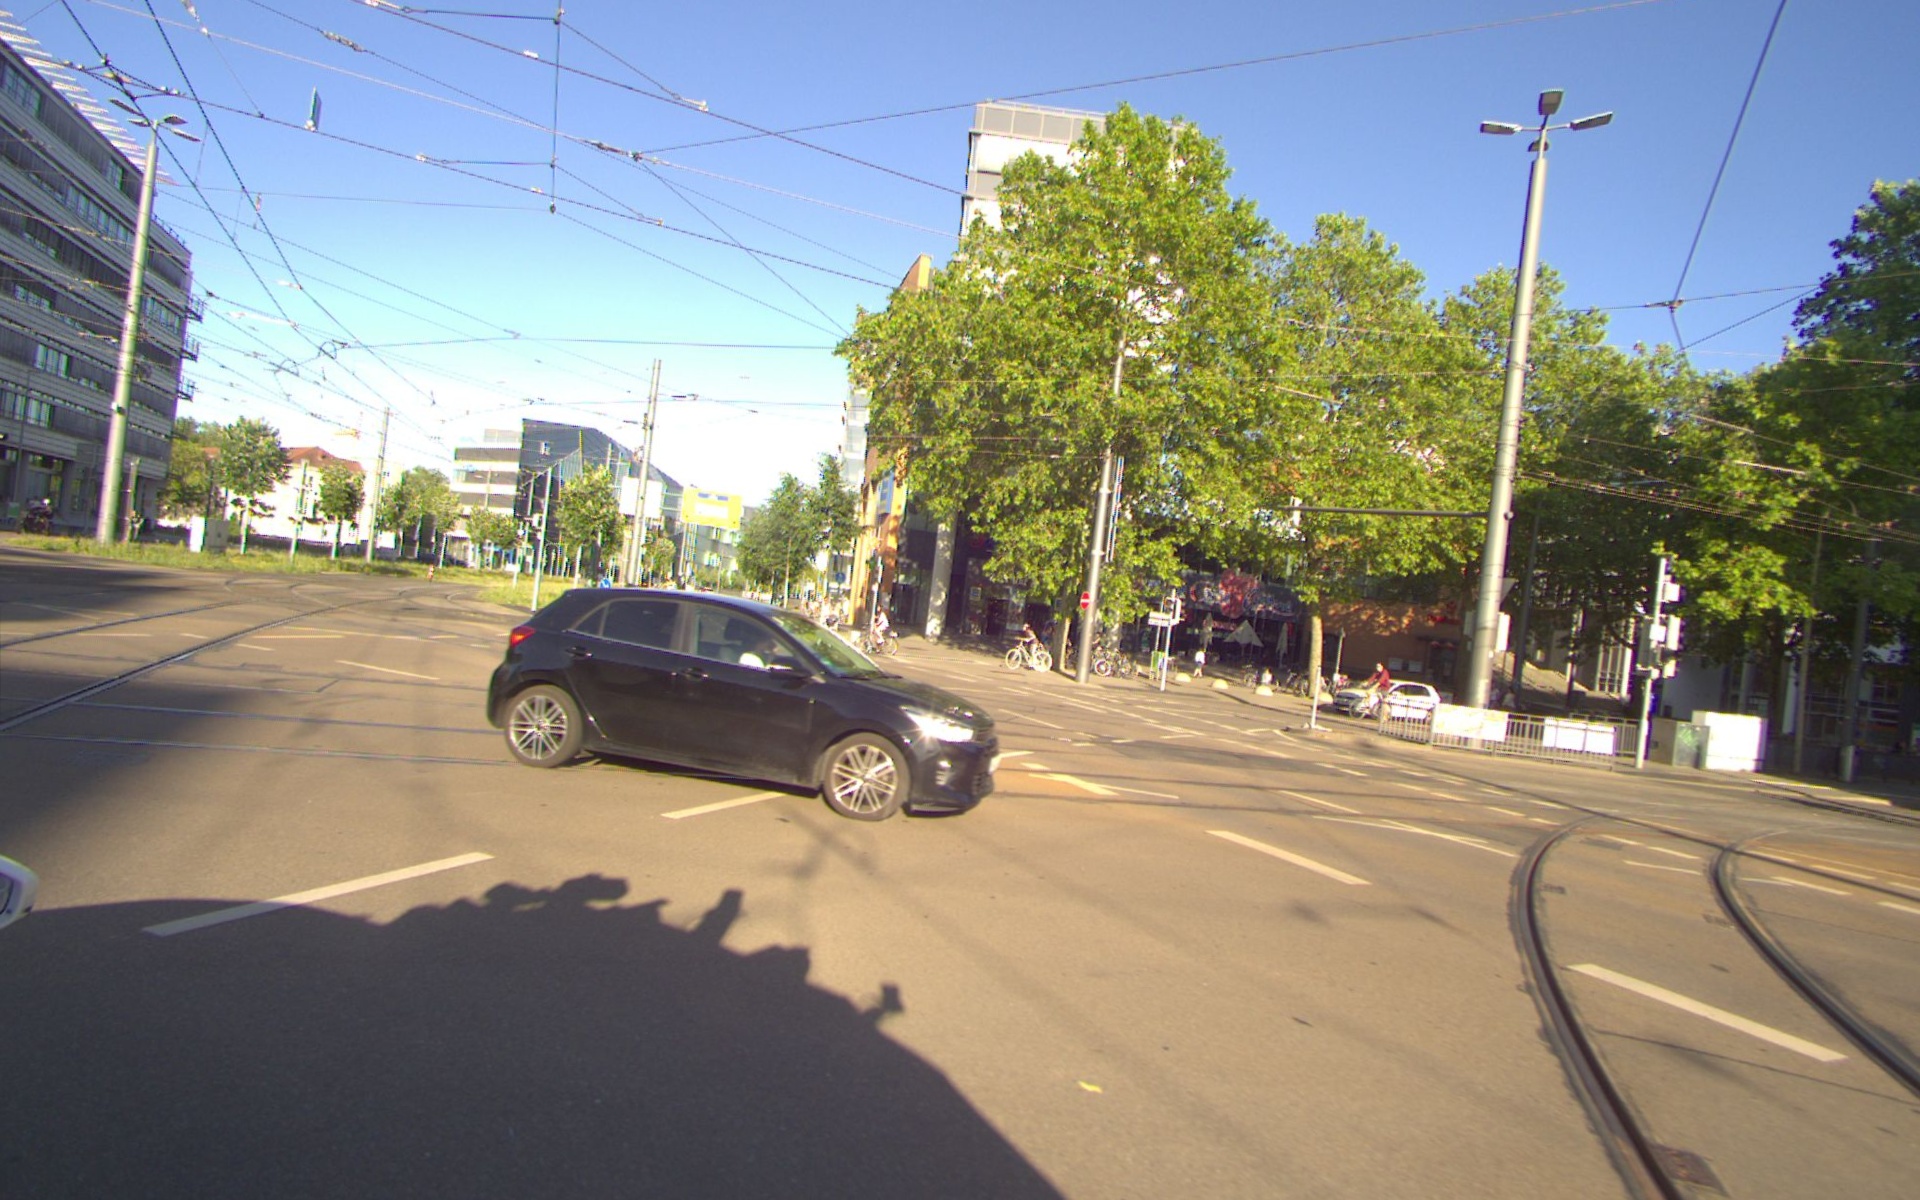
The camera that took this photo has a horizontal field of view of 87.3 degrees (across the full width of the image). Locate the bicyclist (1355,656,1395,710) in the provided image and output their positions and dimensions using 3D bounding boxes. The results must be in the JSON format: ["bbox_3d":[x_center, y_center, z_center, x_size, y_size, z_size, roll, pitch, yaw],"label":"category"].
[{"bbox_3d":[13.622,2.724,33.017,0.916,1.634,0.634,7,-1,-23],"label":"bicyclist"}]

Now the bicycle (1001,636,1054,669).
[{"bbox_3d":[2.483,1.943,37.030,1.830,1.033,0.515,6,-1,-16],"label":"bicycle"}]

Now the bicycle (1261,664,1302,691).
[{"bbox_3d":[15.230,3.699,47.593,0.864,1.104,2.924,6,-1,36],"label":"bicycle"}]

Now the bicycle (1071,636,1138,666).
[{"bbox_3d":[6.939,2.448,48.387,2.996,1.126,0.835,7,-1,-4],"label":"bicycle"}]

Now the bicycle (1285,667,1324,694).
[{"bbox_3d":[16.325,3.837,47.602,0.864,1.104,2.924,6,-1,36],"label":"bicycle"}]

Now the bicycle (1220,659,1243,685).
[{"bbox_3d":[12.976,3.438,48.146,0.861,1.104,2.935,6,-1,14],"label":"bicycle"}]

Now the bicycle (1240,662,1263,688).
[{"bbox_3d":[13.895,3.550,48.038,0.861,1.104,2.935,6,-1,14],"label":"bicycle"}]

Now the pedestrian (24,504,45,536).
[{"bbox_3d":[-53.207,-4.579,57.853,0.542,1.754,0.639,6,0,-21],"label":"pedestrian"}]

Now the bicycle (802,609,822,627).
[{"bbox_3d":[-10.969,1.307,74.362,1.027,1.146,3.173,7,-2,-14],"label":"bicycle"}]

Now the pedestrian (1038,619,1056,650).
[{"bbox_3d":[4.619,1.829,53.150,0.764,1.545,0.564,6,-1,1],"label":"pedestrian"}]

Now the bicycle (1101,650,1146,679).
[{"bbox_3d":[6.588,2.615,40.617,1.683,0.997,0.390,7,-1,-14],"label":"bicycle"}]

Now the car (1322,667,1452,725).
[{"bbox_3d":[15.209,3.402,35.864,3.949,1.502,1.991,9,-3,-23],"label":"car"}]

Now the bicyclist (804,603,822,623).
[{"bbox_3d":[-10.808,0.954,74.125,1.027,1.397,1.560,7,-1,-14],"label":"bicyclist"}]

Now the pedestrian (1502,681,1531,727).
[{"bbox_3d":[22.731,4.253,41.090,0.610,1.797,0.639,6,-1,-27],"label":"pedestrian"}]

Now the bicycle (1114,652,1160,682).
[{"bbox_3d":[6.964,2.615,39.520,1.683,0.997,0.390,7,-1,-14],"label":"bicycle"}]

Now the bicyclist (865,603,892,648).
[{"bbox_3d":[-2.940,0.908,36.163,0.733,1.520,0.568,6,-1,-16],"label":"bicyclist"}]

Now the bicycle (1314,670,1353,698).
[{"bbox_3d":[17.273,3.898,46.449,0.864,1.104,2.924,6,-1,36],"label":"bicycle"}]

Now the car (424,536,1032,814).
[{"bbox_3d":[-1.692,0.519,8.002,4.228,1.483,1.799,6,-1,10],"label":"car"}]

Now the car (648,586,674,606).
[{"bbox_3d":[-29.597,-0.379,99.556,1.876,1.525,3.996,8,-3,-10],"label":"car"}]

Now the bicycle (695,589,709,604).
[{"bbox_3d":[-30.813,-0.454,120.387,1.001,1.598,3.572,6,-2,-6],"label":"bicycle"}]

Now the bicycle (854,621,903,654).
[{"bbox_3d":[-2.940,1.347,36.165,1.608,1.033,0.515,6,-1,-17],"label":"bicycle"}]

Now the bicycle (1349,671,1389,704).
[{"bbox_3d":[17.865,3.837,43.897,0.864,1.250,2.924,6,-1,36],"label":"bicycle"}]

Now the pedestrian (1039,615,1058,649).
[{"bbox_3d":[5.261,1.909,60.003,0.834,1.873,0.810,8,-2,1],"label":"pedestrian"}]

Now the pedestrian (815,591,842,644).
[{"bbox_3d":[-4.922,0.657,37.620,0.689,1.857,0.516,7,-2,8],"label":"pedestrian"}]

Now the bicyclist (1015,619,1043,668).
[{"bbox_3d":[2.558,1.600,37.070,0.733,1.714,0.568,6,-1,-16],"label":"bicyclist"}]

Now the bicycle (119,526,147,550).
[{"bbox_3d":[-44.891,-3.353,54.612,0.636,1.120,1.676,7,-2,-25],"label":"bicycle"}]

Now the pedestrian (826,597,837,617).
[{"bbox_3d":[-10.701,0.581,84.000,0.696,1.588,0.621,6,0,-13],"label":"pedestrian"}]

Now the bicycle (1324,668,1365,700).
[{"bbox_3d":[17.030,3.750,44.485,0.864,1.250,2.924,6,-1,36],"label":"bicycle"}]

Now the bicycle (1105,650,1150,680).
[{"bbox_3d":[6.680,2.601,40.138,1.683,0.997,0.390,7,-1,-14],"label":"bicycle"}]

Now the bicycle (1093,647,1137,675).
[{"bbox_3d":[6.408,2.524,41.509,1.683,0.997,0.390,7,-1,-14],"label":"bicycle"}]

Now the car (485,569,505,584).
[{"bbox_3d":[-60.031,-3.008,129.868,1.747,1.744,3.893,7,-1,-18],"label":"car"}]

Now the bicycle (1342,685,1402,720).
[{"bbox_3d":[13.482,3.360,32.935,1.834,0.921,0.649,7,-1,-23],"label":"bicycle"}]

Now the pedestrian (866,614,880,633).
[{"bbox_3d":[-5.312,1.449,61.345,0.772,1.070,0.814,6,-1,-4],"label":"pedestrian"}]

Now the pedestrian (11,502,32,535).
[{"bbox_3d":[-53.741,-4.661,57.609,0.542,1.754,0.639,6,0,-21],"label":"pedestrian"}]

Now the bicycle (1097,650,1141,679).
[{"bbox_3d":[6.491,2.626,41.065,1.683,0.997,0.390,7,-1,-14],"label":"bicycle"}]

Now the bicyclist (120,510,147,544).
[{"bbox_3d":[-44.838,-3.971,54.607,0.756,1.687,0.988,7,-1,-25],"label":"bicyclist"}]

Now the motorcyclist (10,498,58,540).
[{"bbox_3d":[-44.110,-3.852,47.942,1.006,1.751,1.456,6,-1,-16],"label":"motorcyclist"}]

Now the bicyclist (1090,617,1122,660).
[{"bbox_3d":[7.027,1.845,48.403,1.208,1.954,0.835,6,-1,-4],"label":"bicyclist"}]

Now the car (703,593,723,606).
[{"bbox_3d":[-32.619,-0.012,132.919,1.987,1.392,4.036,7,-2,-7],"label":"car"}]

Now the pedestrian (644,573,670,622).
[{"bbox_3d":[-10.366,-0.075,34.388,0.651,1.601,0.486,7,0,-23],"label":"pedestrian"}]

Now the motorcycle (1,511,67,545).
[{"bbox_3d":[-44.185,-3.408,48.052,0.971,1.246,2.935,6,-2,-16],"label":"motorcycle"}]

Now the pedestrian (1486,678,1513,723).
[{"bbox_3d":[22.351,4.158,41.670,0.610,1.797,0.639,6,-1,-27],"label":"pedestrian"}]

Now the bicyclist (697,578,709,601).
[{"bbox_3d":[-30.735,-1.230,120.410,1.001,2.656,1.471,6,-1,-7],"label":"bicyclist"}]
